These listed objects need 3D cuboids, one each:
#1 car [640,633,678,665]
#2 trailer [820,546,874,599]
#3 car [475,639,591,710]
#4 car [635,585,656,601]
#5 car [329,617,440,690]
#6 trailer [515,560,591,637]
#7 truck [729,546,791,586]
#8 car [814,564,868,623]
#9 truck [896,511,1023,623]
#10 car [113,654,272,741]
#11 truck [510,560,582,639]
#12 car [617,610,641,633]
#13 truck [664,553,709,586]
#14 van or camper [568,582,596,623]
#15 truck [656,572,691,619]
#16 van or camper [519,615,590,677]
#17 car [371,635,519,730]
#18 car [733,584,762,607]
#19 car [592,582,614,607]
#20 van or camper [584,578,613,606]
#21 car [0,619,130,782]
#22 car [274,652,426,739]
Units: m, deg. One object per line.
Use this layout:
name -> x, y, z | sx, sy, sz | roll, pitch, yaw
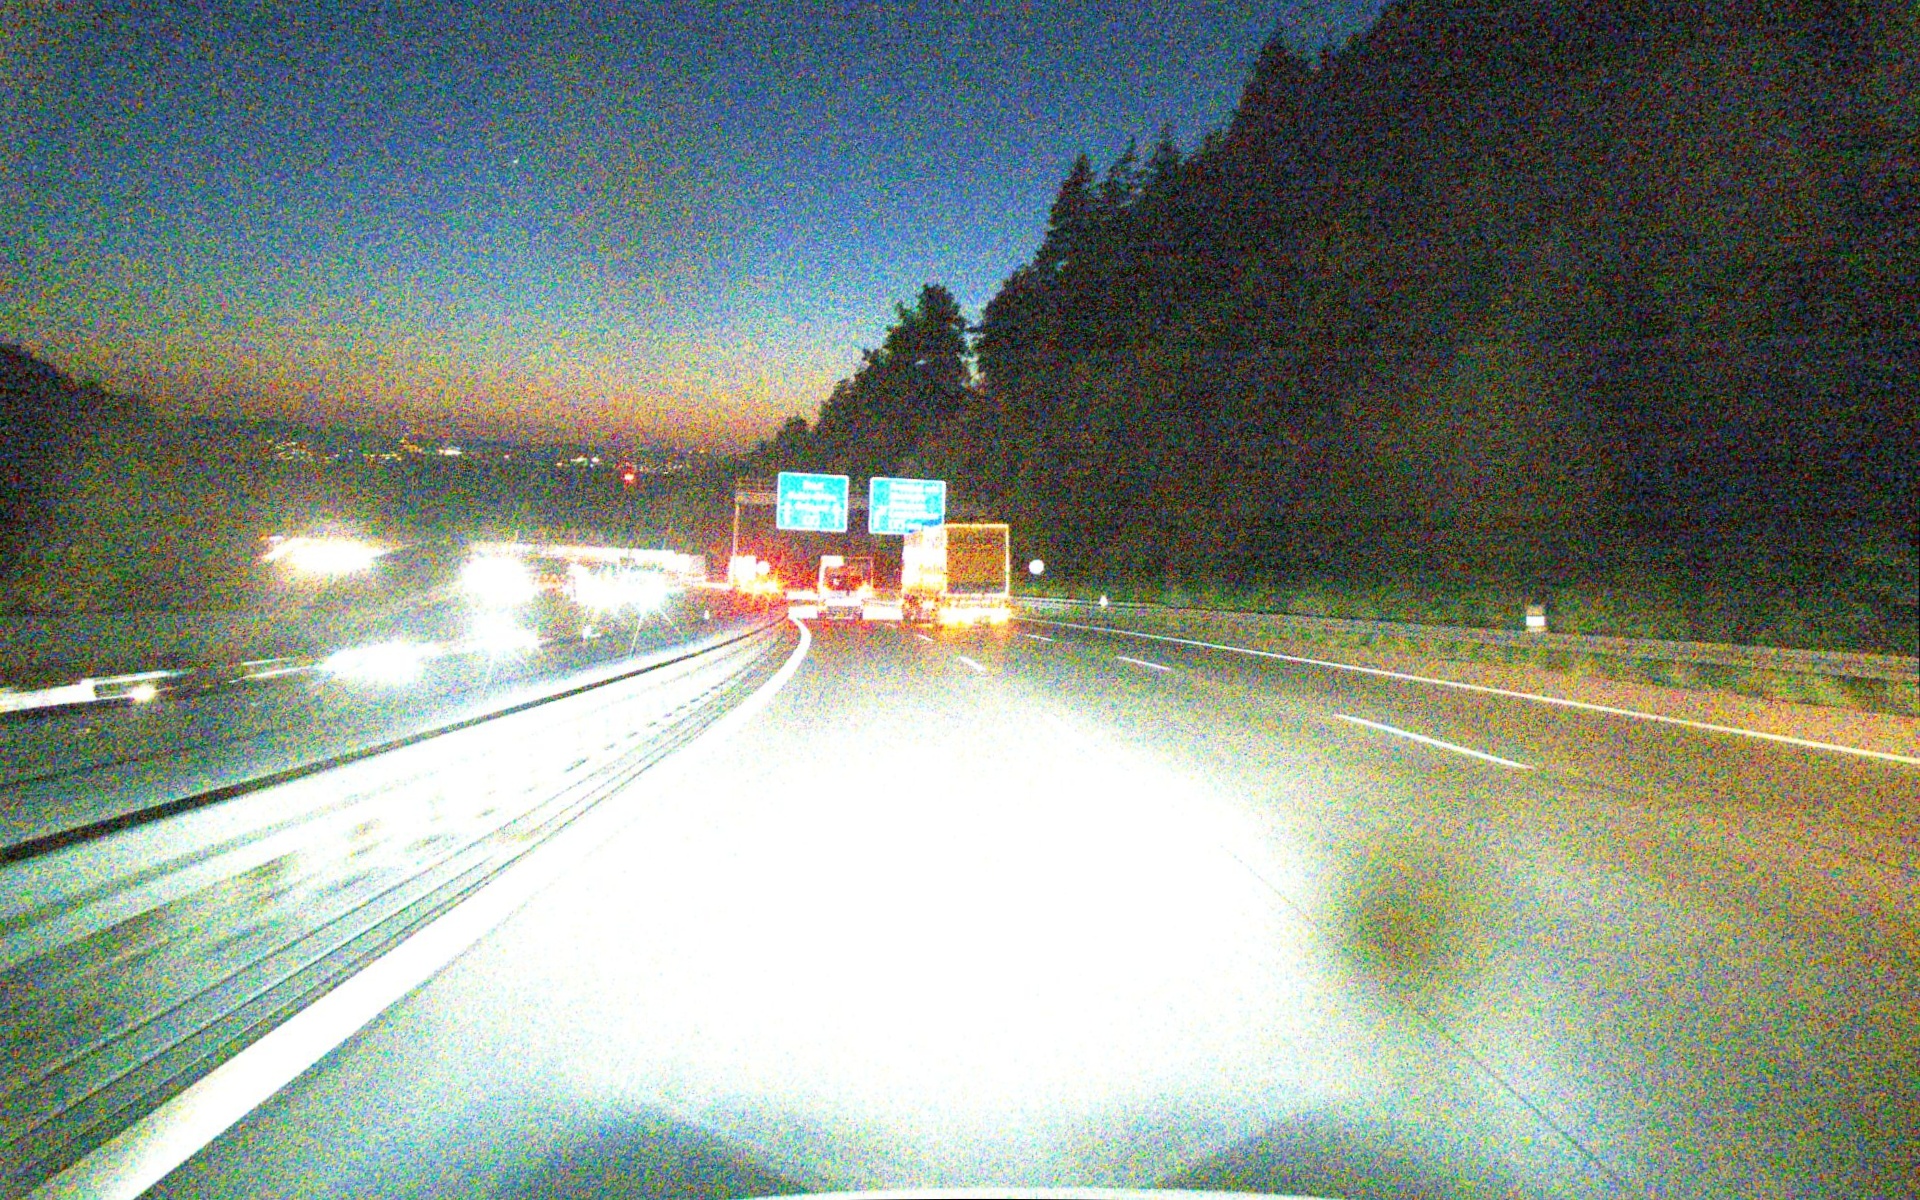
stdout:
car -> -15.173, 2.443, 83.182 | 1.579, 1.505, 4.058 | 1, -1, -14
trailer -> -9.824, -2.488, 142.602 | 2.804, 4.137, 13.169 | -1, 3, -12
car -> -10.912, 1.872, 42.644 | 2.098, 1.476, 5.107 | -1, 1, -6
car -> -32.333, -0.736, 170.147 | 1.789, 1.477, 4.487 | -2, 1, -15
car -> -18.604, 1.671, 53.711 | 2.097, 2.090, 5.108 | -1, 1, -4
trailer -> -24.822, -0.147, 101.533 | 3.373, 4.314, 12.804 | -2, 1, -9
truck -> -25.128, -4.352, 206.174 | 3.854, 4.707, 20.917 | -2, 2, -17
car -> -5.761, -0.309, 79.443 | 2.292, 2.686, 5.240 | 2, 0, -6
truck -> -0.377, -1.295, 71.631 | 3.416, 4.207, 18.683 | 0, 0, -6
car -> -16.832, 2.084, 36.487 | 1.781, 1.584, 4.275 | -1, 1, -5
truck -> -23.904, -0.067, 95.739 | 3.355, 4.296, 6.270 | -2, 1, -9
car -> -23.163, 1.494, 115.920 | 1.572, 1.467, 3.990 | -1, 1, -11
truck -> -40.541, -4.616, 244.643 | 3.300, 4.553, 13.810 | 2, 1, -23
van or camper -> -28.893, 0.150, 126.406 | 1.803, 3.023, 6.375 | -1, 1, -15
truck -> -22.767, -0.378, 131.303 | 2.606, 3.654, 8.529 | 0, 0, -10
van or camper -> -14.929, 1.653, 61.112 | 1.956, 2.049, 5.212 | -1, 1, -8
car -> -9.685, 1.507, 31.436 | 1.781, 1.494, 4.275 | -1, 1, -5
car -> -13.989, -0.297, 108.640 | 1.572, 1.467, 3.989 | -1, 1, -11
car -> -34.649, -0.562, 160.508 | 1.803, 2.411, 5.426 | -1, 1, -15
van or camper -> -38.648, -0.865, 176.644 | 2.407, 2.809, 6.458 | -2, 1, -17
car -> -16.193, 1.622, 27.566 | 1.986, 2.484, 5.693 | 0, 0, -2
car -> -14.364, 2.202, 39.273 | 2.098, 1.651, 5.107 | -1, 1, -6
